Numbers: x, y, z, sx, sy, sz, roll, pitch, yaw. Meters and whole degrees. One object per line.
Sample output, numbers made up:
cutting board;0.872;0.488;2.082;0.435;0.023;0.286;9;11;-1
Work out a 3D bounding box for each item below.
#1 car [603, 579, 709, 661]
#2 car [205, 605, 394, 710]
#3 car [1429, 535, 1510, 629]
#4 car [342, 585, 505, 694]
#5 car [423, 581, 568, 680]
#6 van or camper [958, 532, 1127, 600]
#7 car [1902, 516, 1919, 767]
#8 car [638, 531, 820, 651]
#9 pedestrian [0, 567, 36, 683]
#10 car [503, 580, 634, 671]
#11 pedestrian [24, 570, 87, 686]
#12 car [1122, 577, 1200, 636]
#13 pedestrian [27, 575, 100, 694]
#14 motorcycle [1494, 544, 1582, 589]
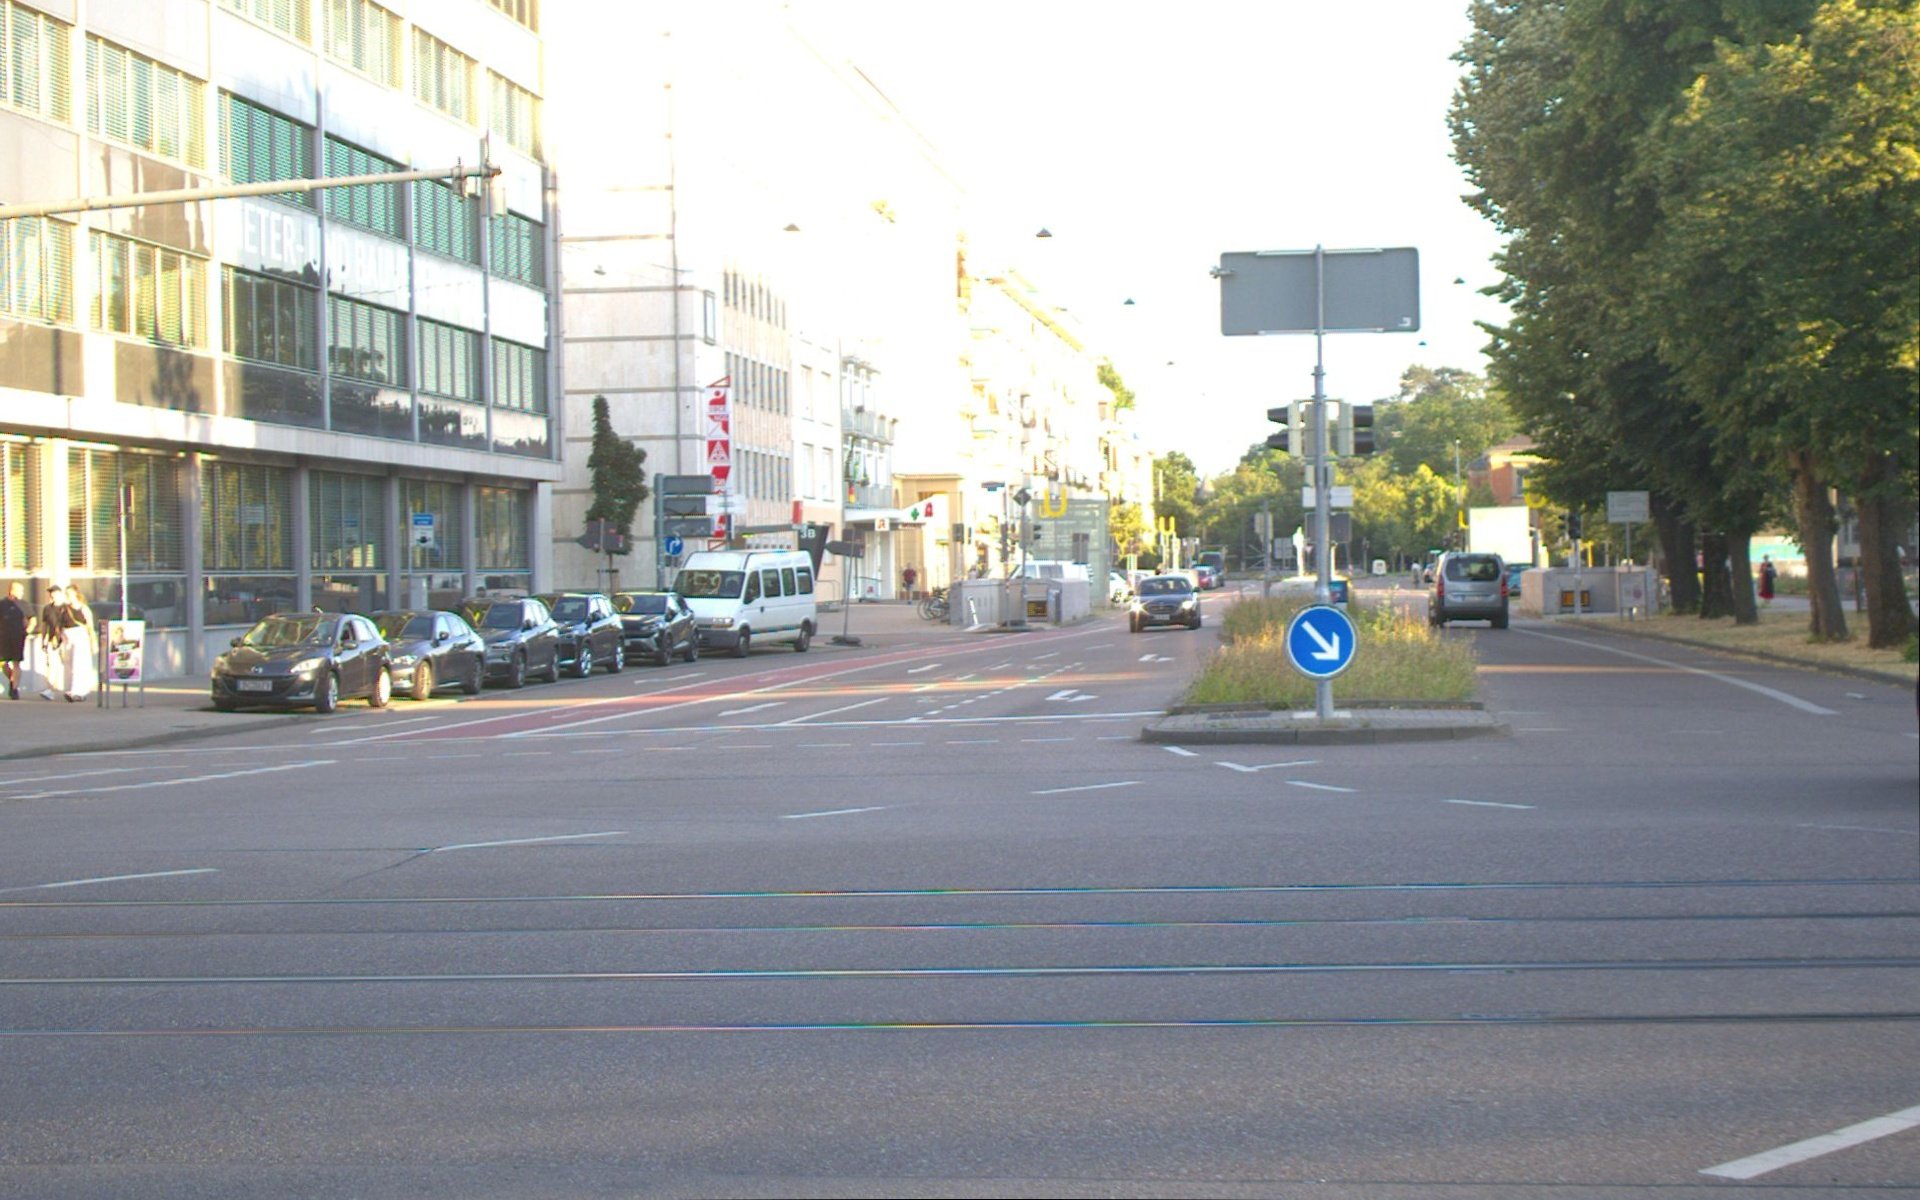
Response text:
car;-6.544;0.405;74.375;1.499;1.659;3.867;3;1;6
car;-9.906;0.841;51.831;1.693;1.406;3.867;3;1;6
car;12.556;-0.470;84.826;1.884;2.230;3.909;-1;1;8
car;-8.960;0.633;57.714;1.693;1.659;3.867;3;1;6
car;-8.473;0.534;62.997;1.693;1.659;3.867;3;1;6
van or camper;2.944;-1.226;122.999;5.507;2.159;2.245;-3;0;-23
car;6.819;0.264;20.302;1.693;1.600;4.089;-2;1;5
car;-5.366;-0.215;80.812;2.239;2.620;5.848;3;1;17
pedestrian;-14.664;0.379;52.939;0.653;1.762;0.646;-1;0;3
car;-7.722;0.475;68.115;1.693;1.659;3.867;3;1;6
pedestrian;-13.907;0.422;52.850;0.739;1.762;0.673;-1;0;3
car;5.279;0.151;89.948;1.693;1.416;4.172;-1;1;8
pedestrian;-13.521;0.511;51.860;0.841;1.762;0.786;-1;0;3
motorcycle;23.439;-1.363;139.488;3.488;1.749;0.925;-1;0;10
